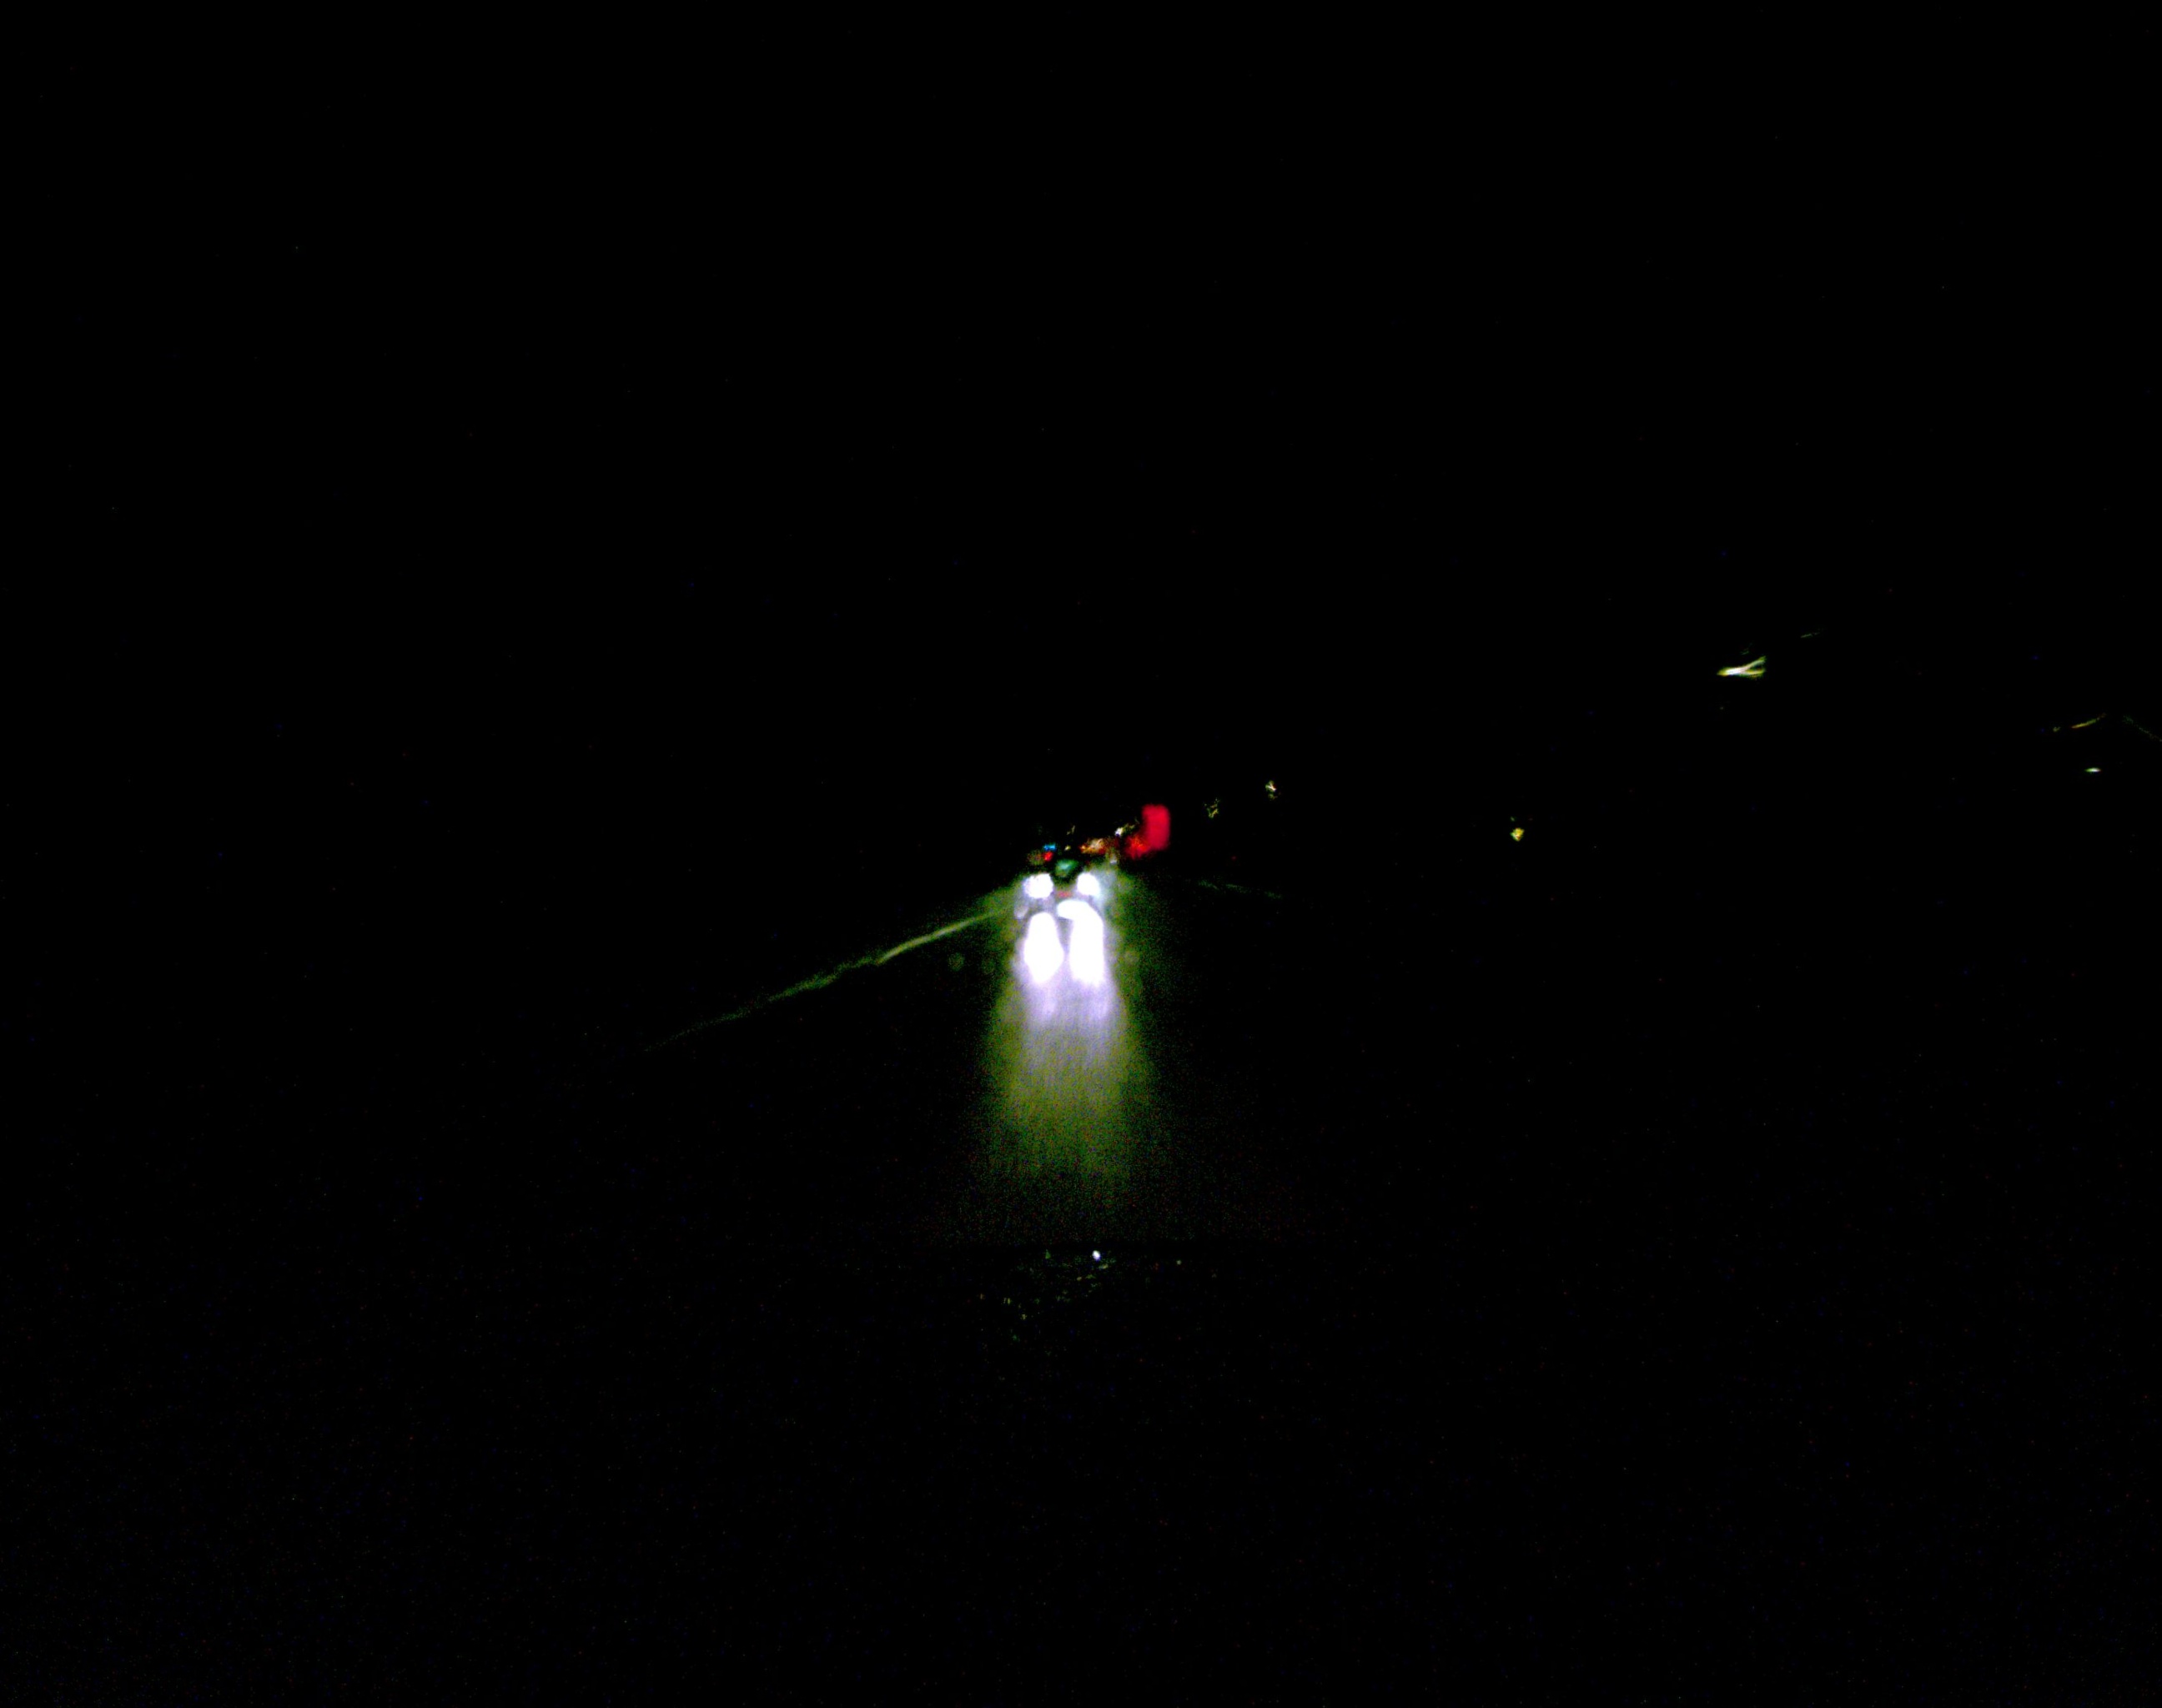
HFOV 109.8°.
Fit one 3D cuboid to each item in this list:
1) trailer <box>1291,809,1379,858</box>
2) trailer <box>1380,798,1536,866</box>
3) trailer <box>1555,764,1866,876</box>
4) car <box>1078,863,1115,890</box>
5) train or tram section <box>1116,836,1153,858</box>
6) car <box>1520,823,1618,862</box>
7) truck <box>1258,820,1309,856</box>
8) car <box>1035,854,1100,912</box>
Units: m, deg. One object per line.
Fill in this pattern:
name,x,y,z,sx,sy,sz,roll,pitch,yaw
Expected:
trailer,29.284,-2.278,88.823,3.982,4.984,14.828,-6,1,-4
trailer,30.382,-1.684,62.754,3.982,4.583,15.508,-6,1,-4
trailer,32.413,-1.583,40.829,3.982,4.583,14.241,-6,1,-4
car,0.987,1.461,50.318,1.789,1.638,4.433,-2,0,-7
train or tram section,10.561,-1.521,155.869,2.704,3.793,37.129,-6,1,-3
car,24.051,-0.523,37.656,1.791,1.684,4.217,-4,0,-5
truck,28.107,-2.181,105.908,3.448,4.583,10.208,-6,1,-4
car,-0.533,0.899,25.167,1.791,1.684,4.217,-2,0,-5
